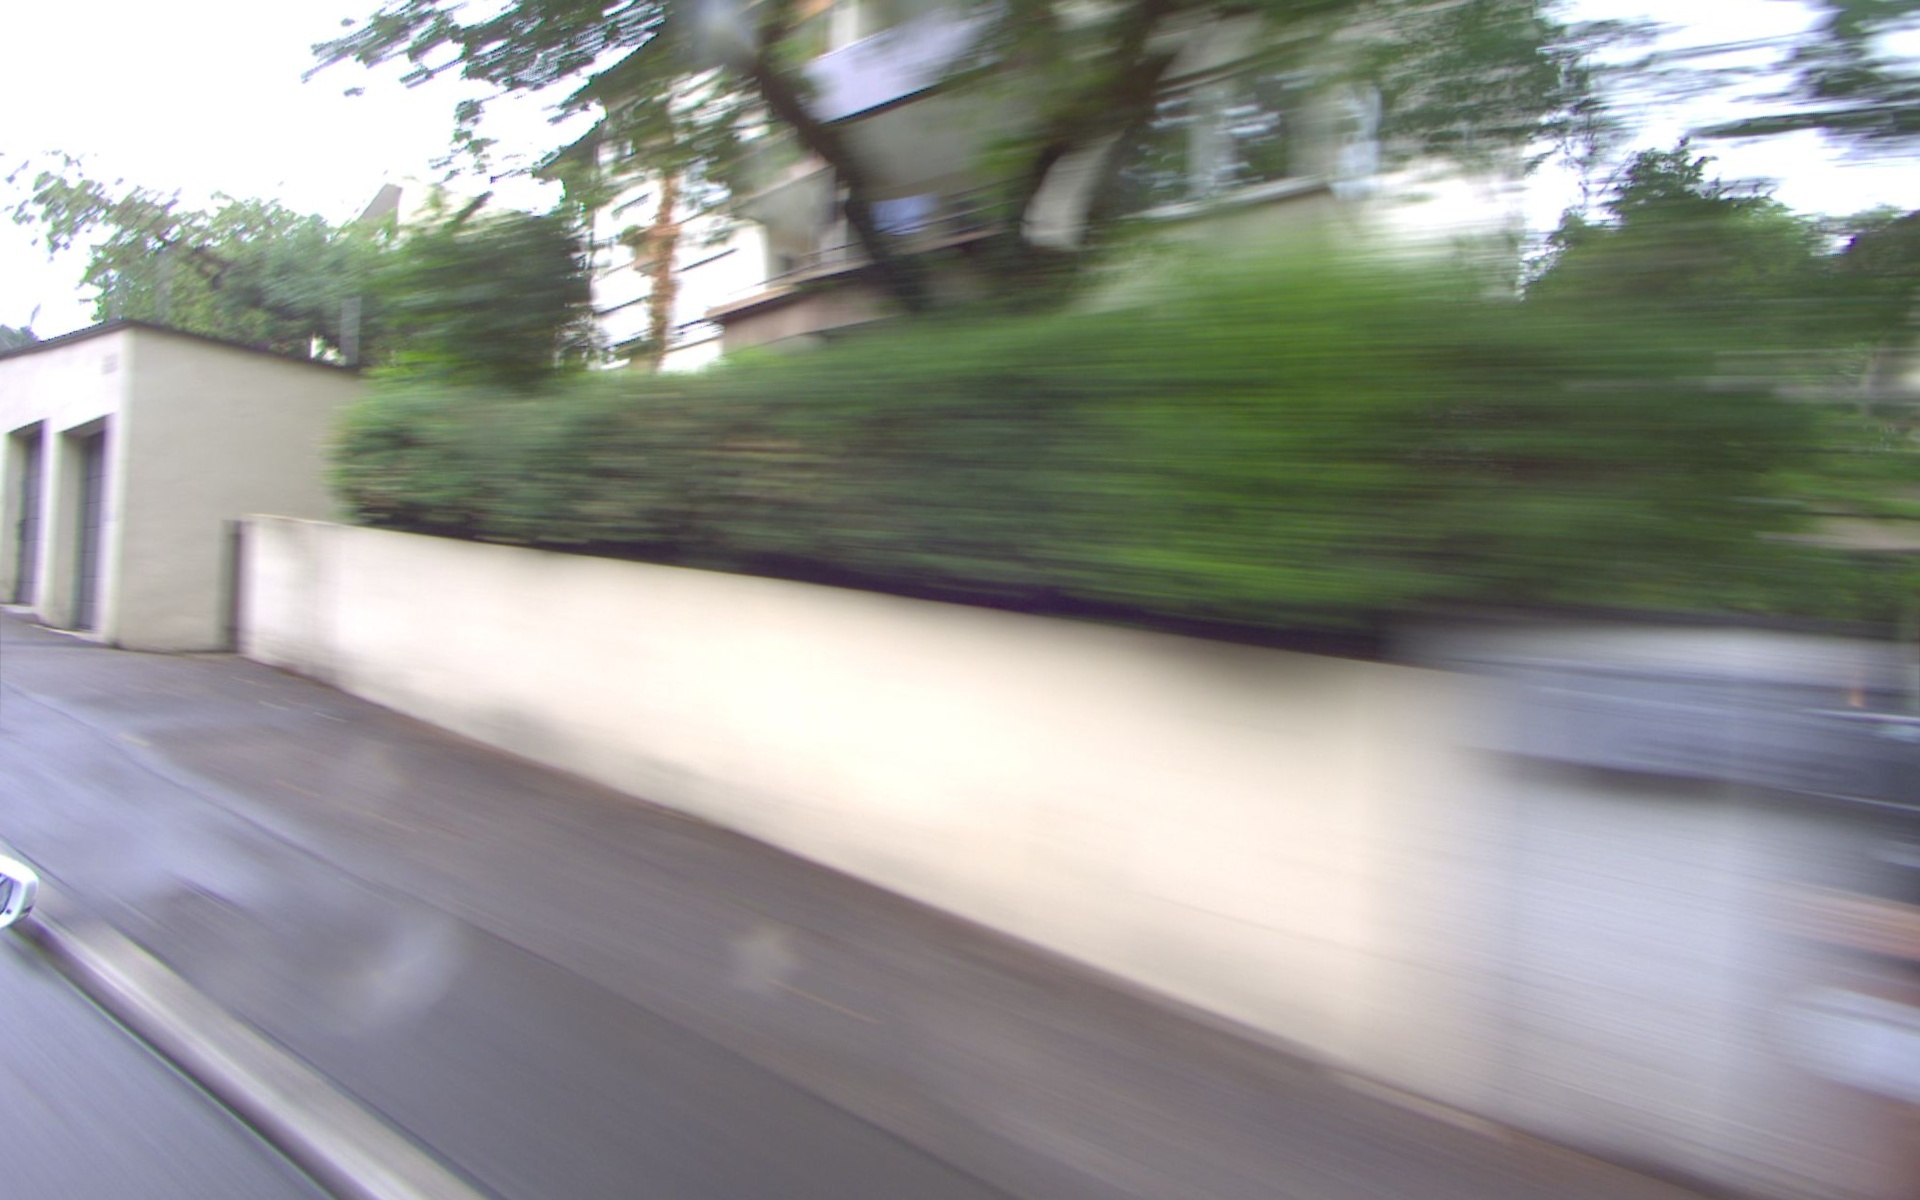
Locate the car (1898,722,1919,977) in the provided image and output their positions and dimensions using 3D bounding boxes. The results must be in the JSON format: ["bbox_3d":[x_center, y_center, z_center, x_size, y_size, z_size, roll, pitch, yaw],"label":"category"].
[{"bbox_3d":[6.041,1.448,4.444,1.968,1.593,4.296,3,-4,33],"label":"car"}]

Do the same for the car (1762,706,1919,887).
[{"bbox_3d":[11.575,2.406,12.780,1.971,1.843,4.290,3,-4,38],"label":"car"}]

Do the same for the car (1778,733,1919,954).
[{"bbox_3d":[9.017,2.133,9.105,1.968,1.593,4.296,3,-4,33],"label":"car"}]
